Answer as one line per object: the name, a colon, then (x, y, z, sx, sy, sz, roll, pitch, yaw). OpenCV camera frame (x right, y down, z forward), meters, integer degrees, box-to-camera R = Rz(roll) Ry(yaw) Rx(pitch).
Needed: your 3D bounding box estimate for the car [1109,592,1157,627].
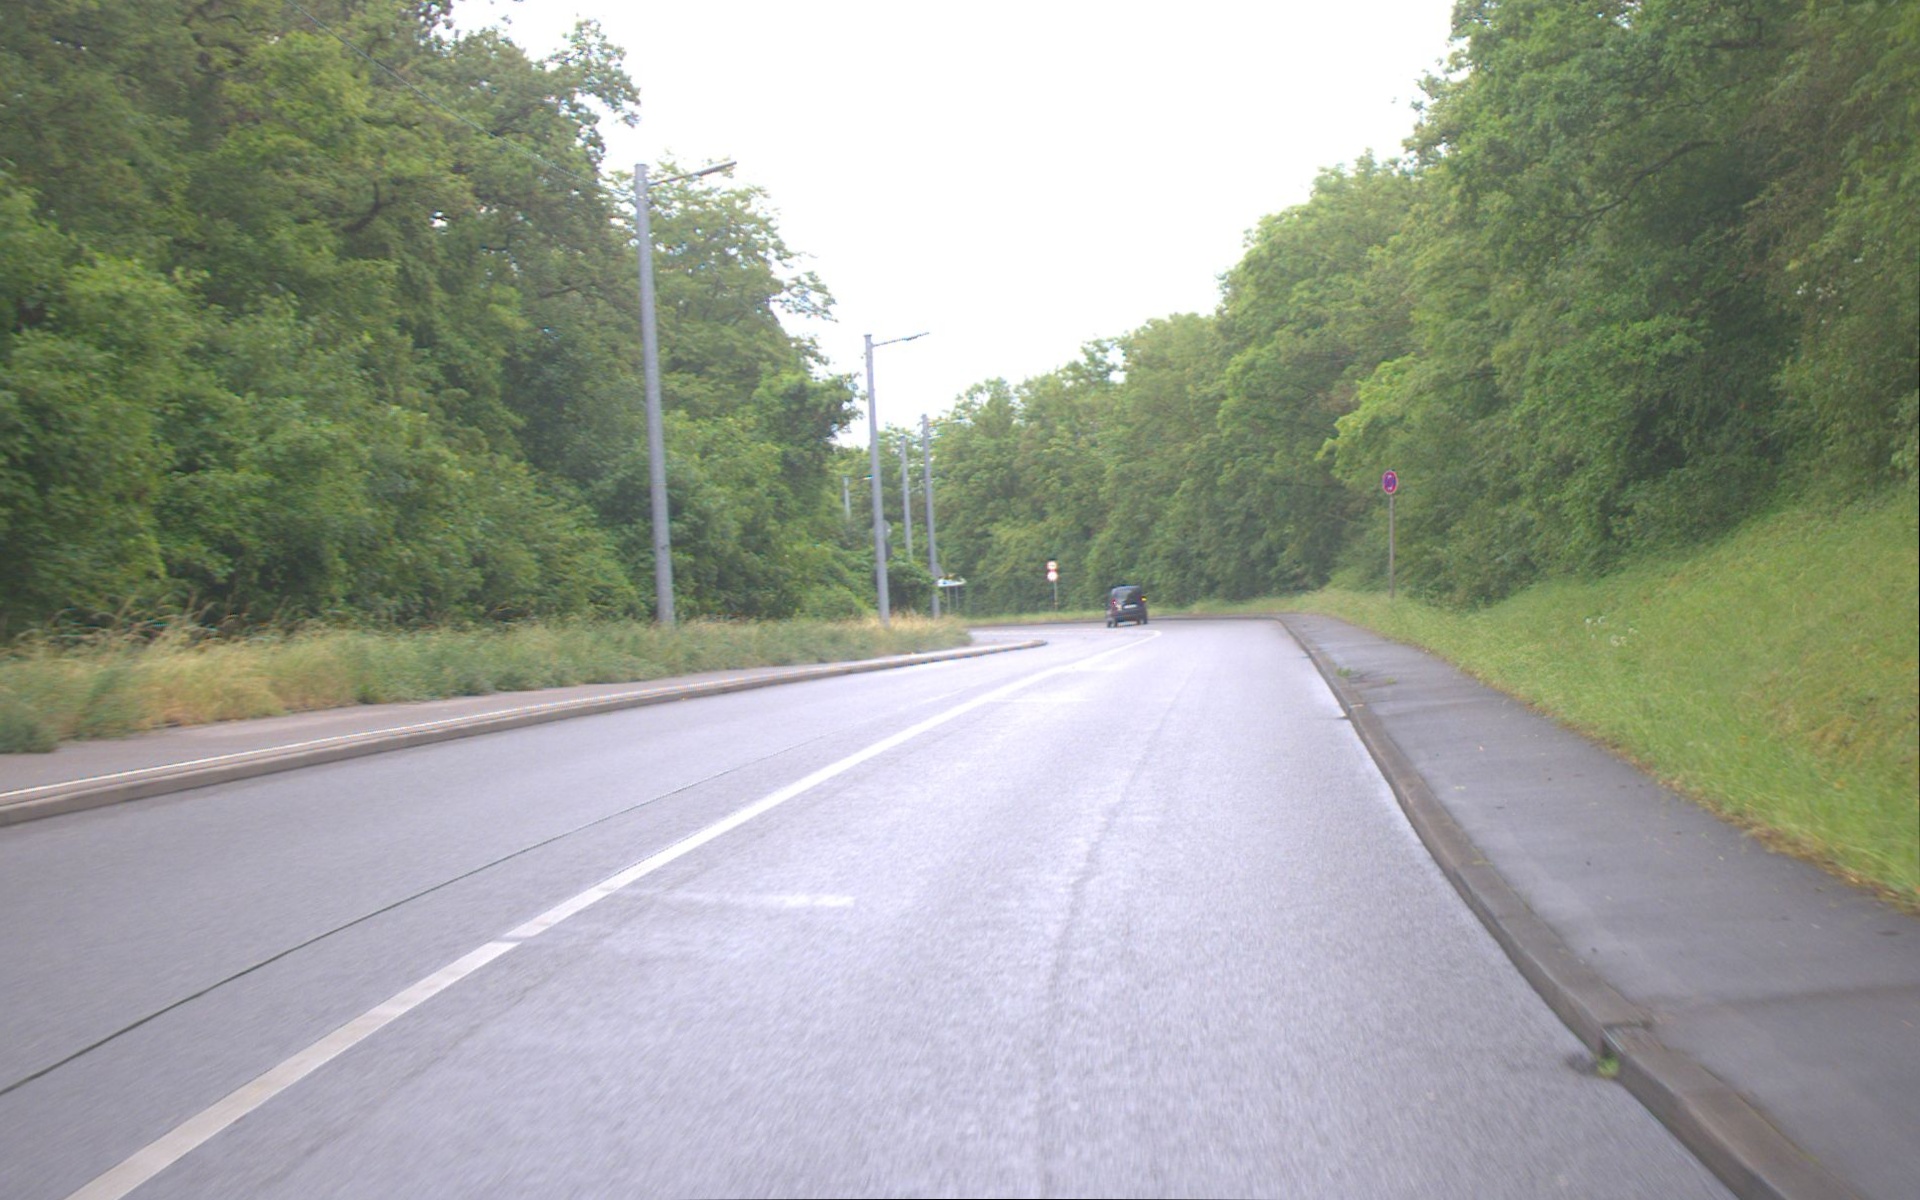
car: (8.171, 0.479, 162.567, 1.867, 1.590, 4.000, 1, -1, -2)
